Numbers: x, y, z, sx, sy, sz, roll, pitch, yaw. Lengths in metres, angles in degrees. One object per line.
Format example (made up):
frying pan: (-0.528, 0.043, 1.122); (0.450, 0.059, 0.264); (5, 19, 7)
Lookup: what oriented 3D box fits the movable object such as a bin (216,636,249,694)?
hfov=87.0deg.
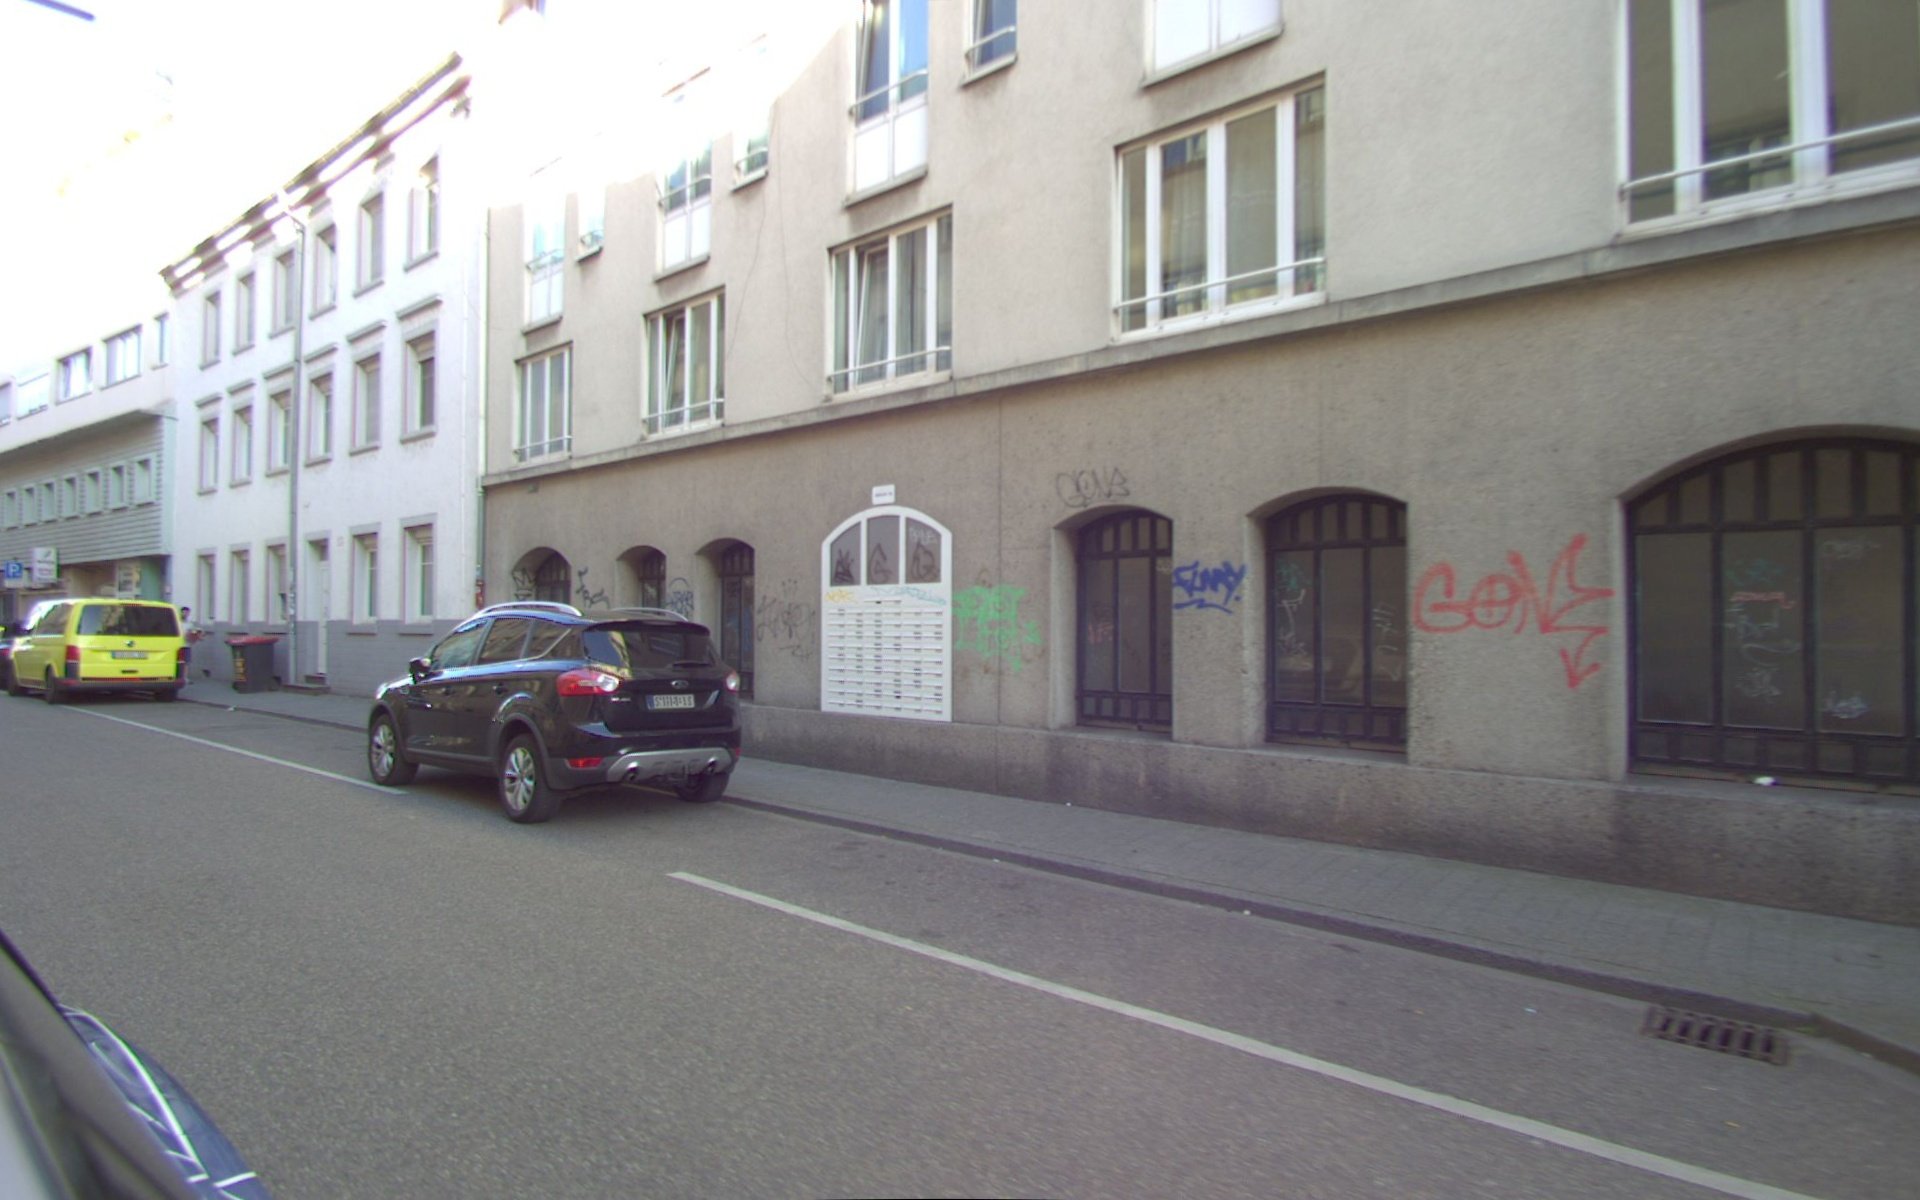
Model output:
movable object such as a bin: (-14.349, 1.270, 19.969); (0.433, 1.113, 0.406); (-1, -3, 39)

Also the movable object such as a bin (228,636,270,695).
movable object such as a bin: (-13.816, 1.265, 19.674); (0.433, 1.113, 0.535); (-1, -3, 39)

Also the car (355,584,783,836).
car: (-3.618, 0.840, 8.992); (4.188, 1.724, 1.722); (-1, -5, 41)

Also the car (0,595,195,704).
car: (-16.782, 0.936, 19.543); (4.855, 1.881, 1.863); (-1, -4, 37)

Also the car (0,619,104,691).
car: (-21.223, 1.215, 22.890); (4.067, 1.497, 1.803); (-1, -4, 35)
